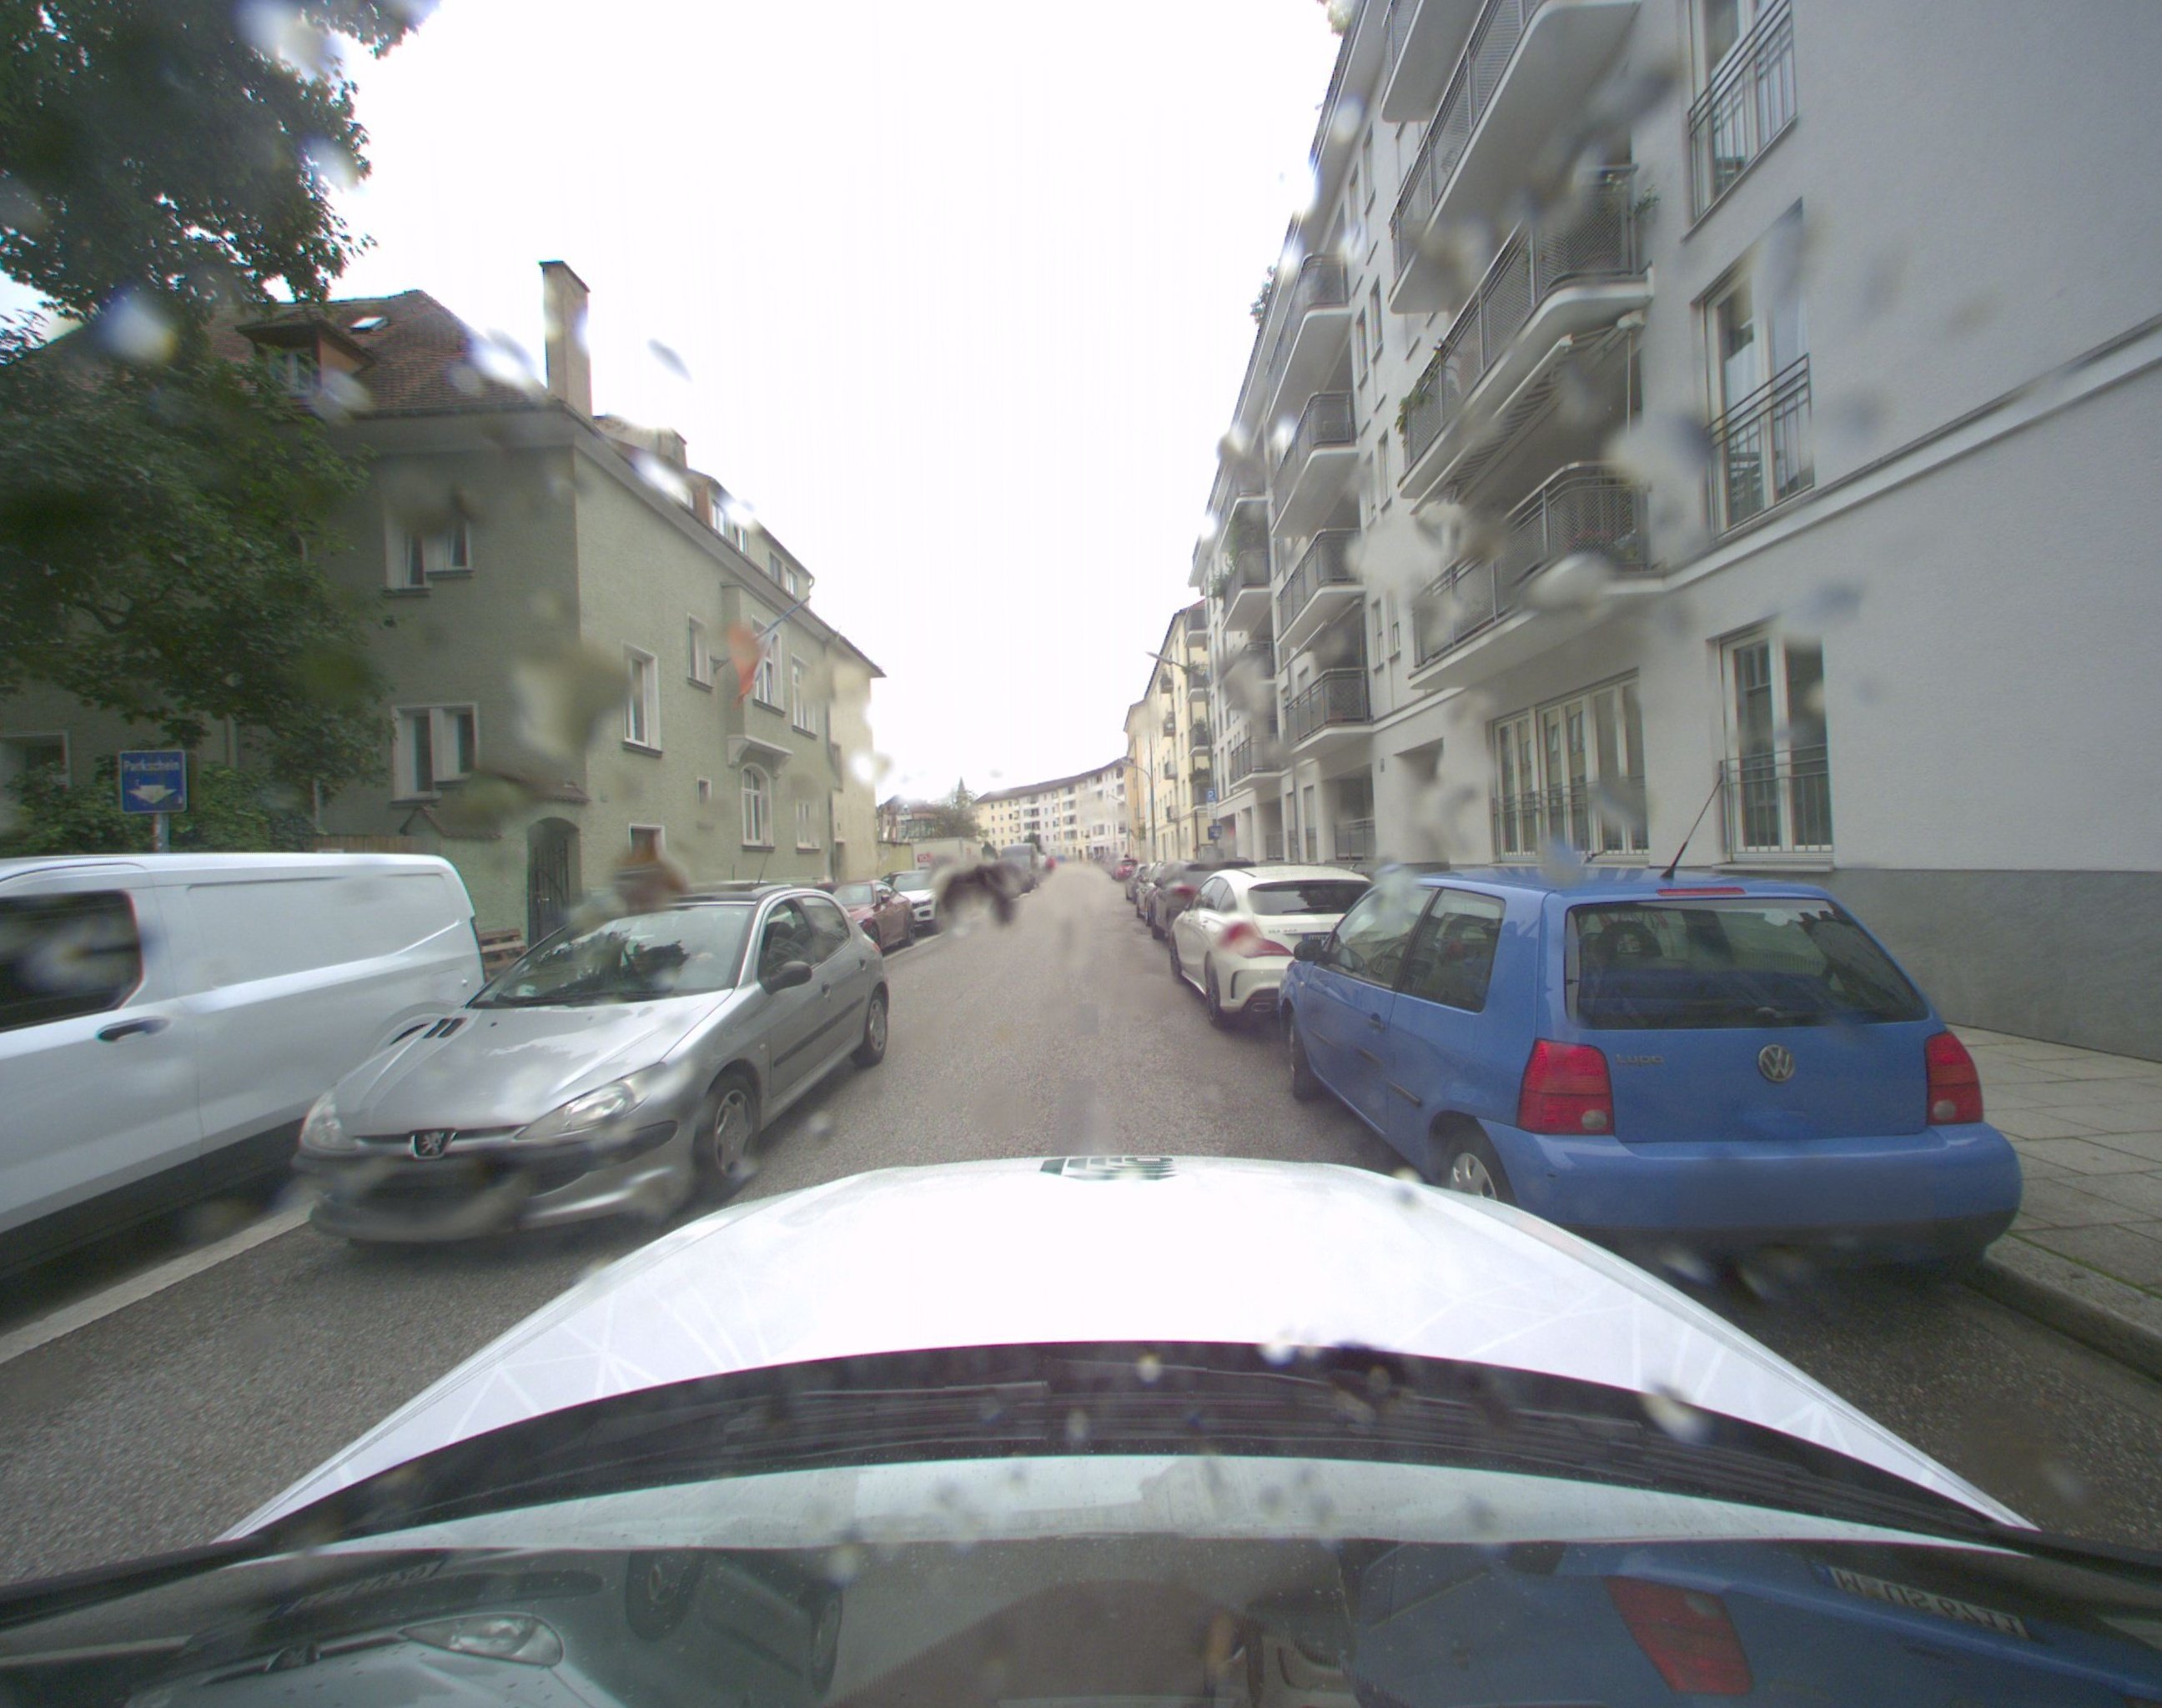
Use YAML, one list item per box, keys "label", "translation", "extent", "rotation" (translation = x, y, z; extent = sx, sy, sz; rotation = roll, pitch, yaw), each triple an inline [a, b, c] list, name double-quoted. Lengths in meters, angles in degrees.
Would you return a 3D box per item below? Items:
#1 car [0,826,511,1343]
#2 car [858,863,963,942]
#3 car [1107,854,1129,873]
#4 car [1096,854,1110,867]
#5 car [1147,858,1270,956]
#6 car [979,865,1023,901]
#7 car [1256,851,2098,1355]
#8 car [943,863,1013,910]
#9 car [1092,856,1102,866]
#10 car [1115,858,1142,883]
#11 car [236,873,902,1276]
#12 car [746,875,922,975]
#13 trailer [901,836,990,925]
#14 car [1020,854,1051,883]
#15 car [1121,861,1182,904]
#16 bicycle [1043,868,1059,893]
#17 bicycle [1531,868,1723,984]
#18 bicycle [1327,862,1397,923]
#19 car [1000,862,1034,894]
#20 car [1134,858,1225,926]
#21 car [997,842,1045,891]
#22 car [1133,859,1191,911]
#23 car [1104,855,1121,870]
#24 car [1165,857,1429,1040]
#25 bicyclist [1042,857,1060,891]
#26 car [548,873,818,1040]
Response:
- label: "car"
  translation: [-4.657, 0.864, 3.284]
  extent: [1.685, 1.803, 4.144]
  rotation: [-4, 0, 0]
- label: "car"
  translation: [-4.124, 1.117, 20.349]
  extent: [1.681, 1.603, 3.921]
  rotation: [-5, 0, 0]
- label: "car"
  translation: [3.145, 0.801, 70.020]
  extent: [1.594, 1.491, 3.798]
  rotation: [-2, 0, -1]
- label: "car"
  translation: [2.687, 0.776, 99.636]
  extent: [1.469, 1.641, 3.999]
  rotation: [-1, 0, -1]
- label: "car"
  translation: [2.159, 0.843, 14.761]
  extent: [1.599, 1.530, 3.983]
  rotation: [0, 0, 0]
- label: "car"
  translation: [-3.674, 1.300, 37.912]
  extent: [1.696, 1.445, 3.822]
  rotation: [-2, 0, -2]
- label: "car"
  translation: [2.099, 0.727, 4.111]
  extent: [1.614, 1.412, 3.552]
  rotation: [0, -1, -1]
- label: "car"
  translation: [-3.903, 1.200, 31.580]
  extent: [1.759, 1.538, 4.545]
  rotation: [-5, -1, 3]
- label: "car"
  translation: [2.139, 0.908, 111.211]
  extent: [1.268, 1.299, 2.796]
  rotation: [-2, 0, -1]
- label: "car"
  translation: [3.131, 1.061, 54.181]
  extent: [1.590, 1.509, 3.801]
  rotation: [-3, 0, 1]
- label: "car"
  translation: [-2.350, 0.879, 4.897]
  extent: [1.575, 1.411, 3.614]
  rotation: [-3, -1, 2]
- label: "car"
  translation: [-4.335, 1.181, 15.060]
  extent: [1.855, 1.412, 4.332]
  rotation: [-5, -1, -1]
- label: "trailer"
  translation: [-4.169, 0.768, 25.767]
  extent: [1.702, 2.461, 4.390]
  rotation: [-4, 0, 3]
- label: "car"
  translation: [-3.334, 1.026, 60.789]
  extent: [1.876, 1.931, 4.601]
  rotation: [-4, 0, 0]
- label: "car"
  translation: [2.552, 1.015, 30.293]
  extent: [1.758, 1.408, 4.075]
  rotation: [-2, -1, -2]
- label: "bicycle"
  translation: [-1.412, 1.249, 38.614]
  extent: [0.502, 1.128, 1.775]
  rotation: [-4, 0, 4]
- label: "bicycle"
  translation: [5.476, 0.684, 8.335]
  extent: [0.675, 1.028, 1.834]
  rotation: [-3, -2, 0]
- label: "bicycle"
  translation: [5.778, 0.758, 16.869]
  extent: [0.625, 1.160, 2.126]
  rotation: [-3, 0, -1]
- label: "car"
  translation: [-3.331, 1.233, 42.932]
  extent: [1.582, 1.538, 3.540]
  rotation: [-3, -1, -3]
- label: "car"
  translation: [2.375, 0.881, 20.694]
  extent: [1.728, 1.530, 4.620]
  rotation: [0, 0, 0]
- label: "car"
  translation: [-3.465, 0.696, 48.010]
  extent: [2.080, 2.636, 5.380]
  rotation: [-3, 0, 2]
- label: "car"
  translation: [2.535, 0.934, 26.222]
  extent: [1.514, 1.530, 3.526]
  rotation: [-1, 0, 0]
- label: "car"
  translation: [3.437, 0.888, 89.413]
  extent: [1.586, 1.582, 4.297]
  rotation: [-1, 0, -1]
- label: "car"
  translation: [1.934, 0.763, 8.577]
  extent: [1.653, 1.440, 4.205]
  rotation: [0, 0, 0]
- label: "bicyclist"
  translation: [-1.424, 0.934, 38.631]
  extent: [0.691, 1.561, 0.967]
  rotation: [-4, 0, 3]
- label: "car"
  translation: [-4.407, 1.029, 9.576]
  extent: [1.469, 1.466, 3.312]
  rotation: [-4, 0, -1]
